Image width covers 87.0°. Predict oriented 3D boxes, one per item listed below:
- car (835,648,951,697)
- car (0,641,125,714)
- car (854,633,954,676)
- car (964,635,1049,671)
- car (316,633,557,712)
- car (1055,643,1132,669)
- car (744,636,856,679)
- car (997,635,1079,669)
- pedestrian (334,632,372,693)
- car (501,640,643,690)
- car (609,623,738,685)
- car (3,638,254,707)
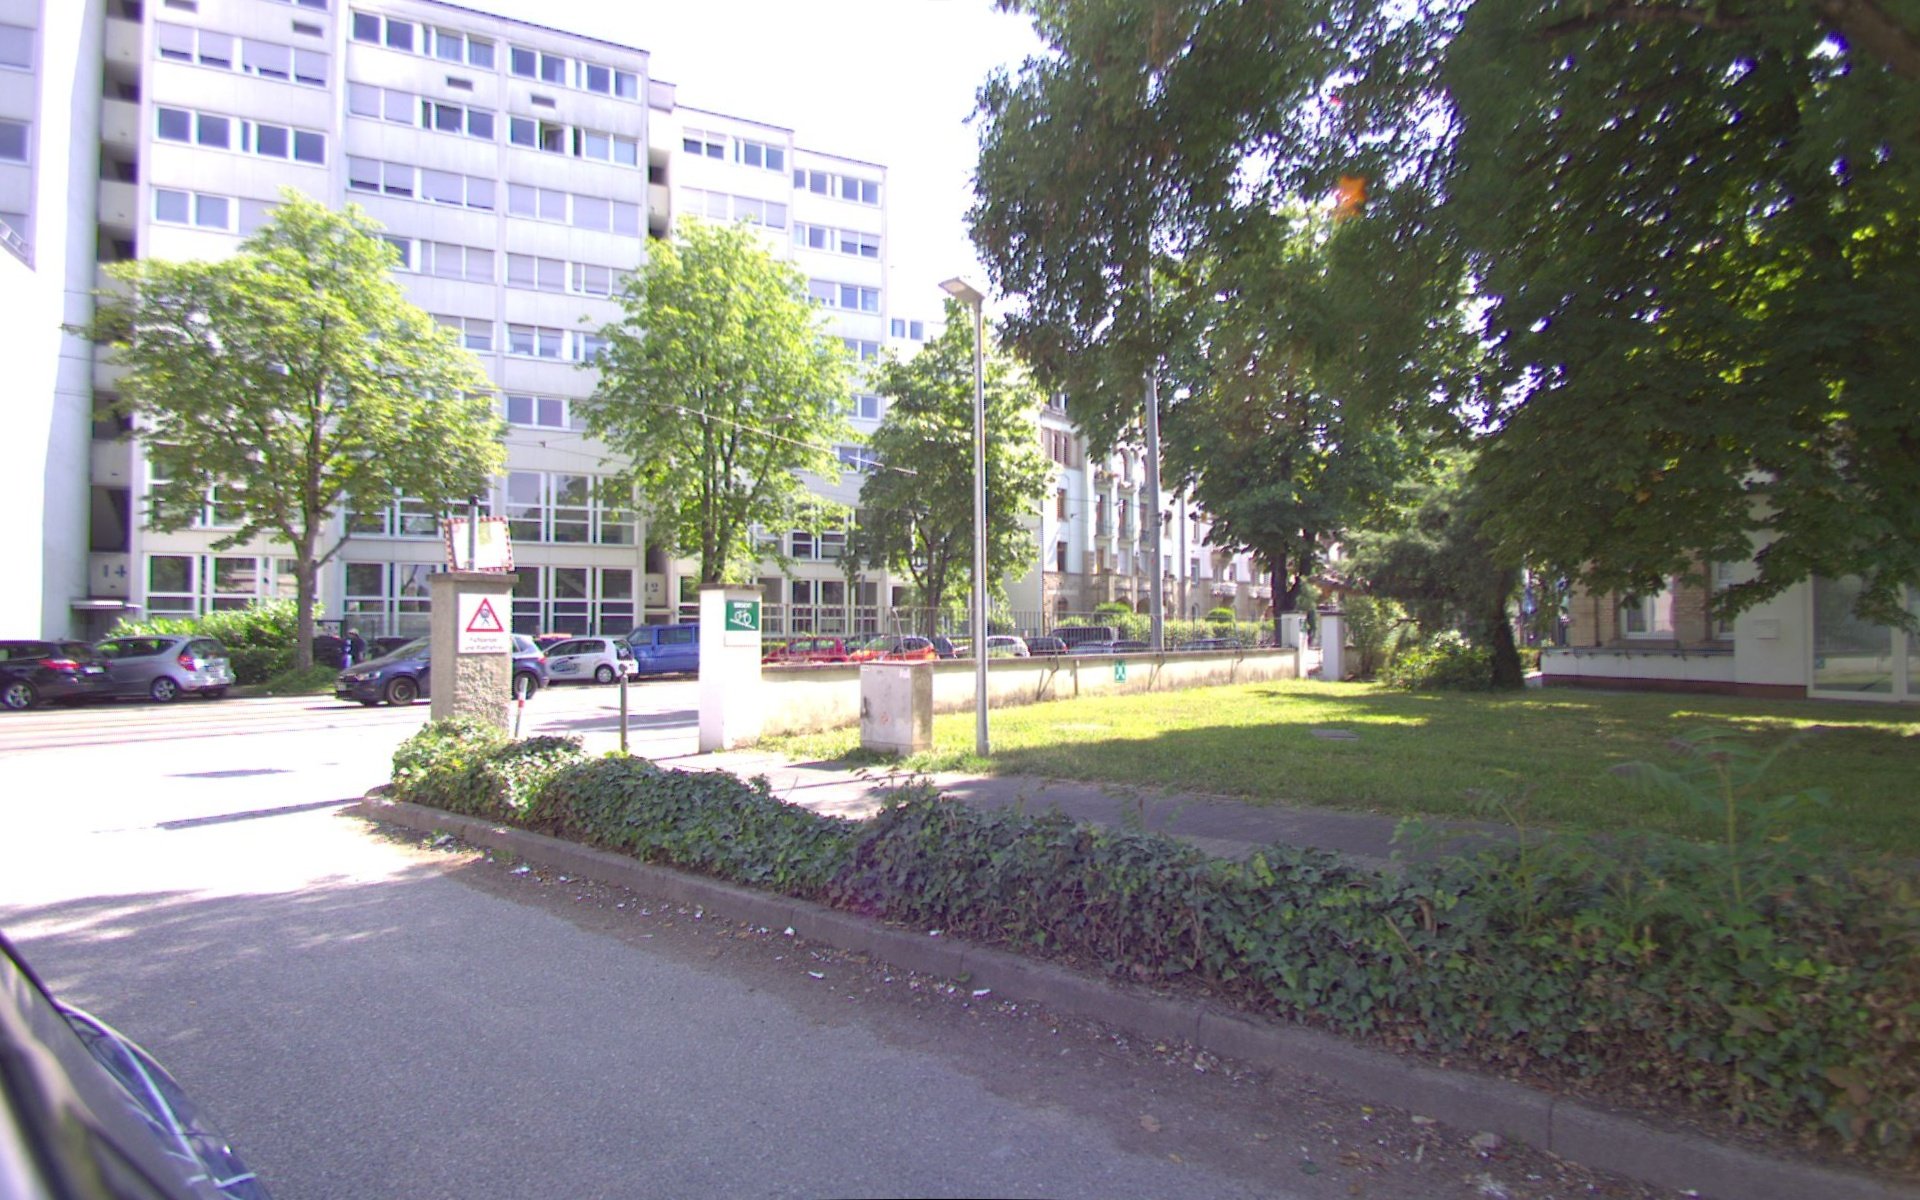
[{"bbox_3d":[-2.081,2.297,32.540,1.657,1.423,4.130,-3,-3,32],"label":"car"},{"bbox_3d":[-20.619,1.630,21.473,4.118,1.487,1.805,0,-2,-9],"label":"car"},{"bbox_3d":[-2.334,2.225,41.682,3.937,1.652,1.806,-1,-3,-7],"label":"car"},{"bbox_3d":[2.247,2.571,49.633,3.941,1.674,1.830,-1,-2,-3],"label":"car"},{"bbox_3d":[-11.420,1.535,22.343,1.941,1.533,4.333,-3,-3,39],"label":"car"},{"bbox_3d":[7.440,3.135,56.675,3.939,1.428,1.787,0,-3,-5],"label":"car"},{"bbox_3d":[-6.139,2.210,39.110,4.154,1.550,1.785,-1,-3,-7],"label":"car"},{"bbox_3d":[3.968,2.635,51.929,3.941,1.674,1.830,-1,-2,-3],"label":"car"},{"bbox_3d":[-18.163,1.847,30.297,0.730,1.790,0.744,-2,-3,37],"label":"pedestrian"},{"bbox_3d":[-12.103,2.016,31.669,3.801,1.475,1.707,-1,-2,5],"label":"car"},{"bbox_3d":[-9.602,1.809,34.133,3.937,1.921,1.790,-1,-3,-7],"label":"car"},{"bbox_3d":[-19.441,1.662,23.838,4.272,1.498,1.804,0,-2,-6],"label":"car"}]
